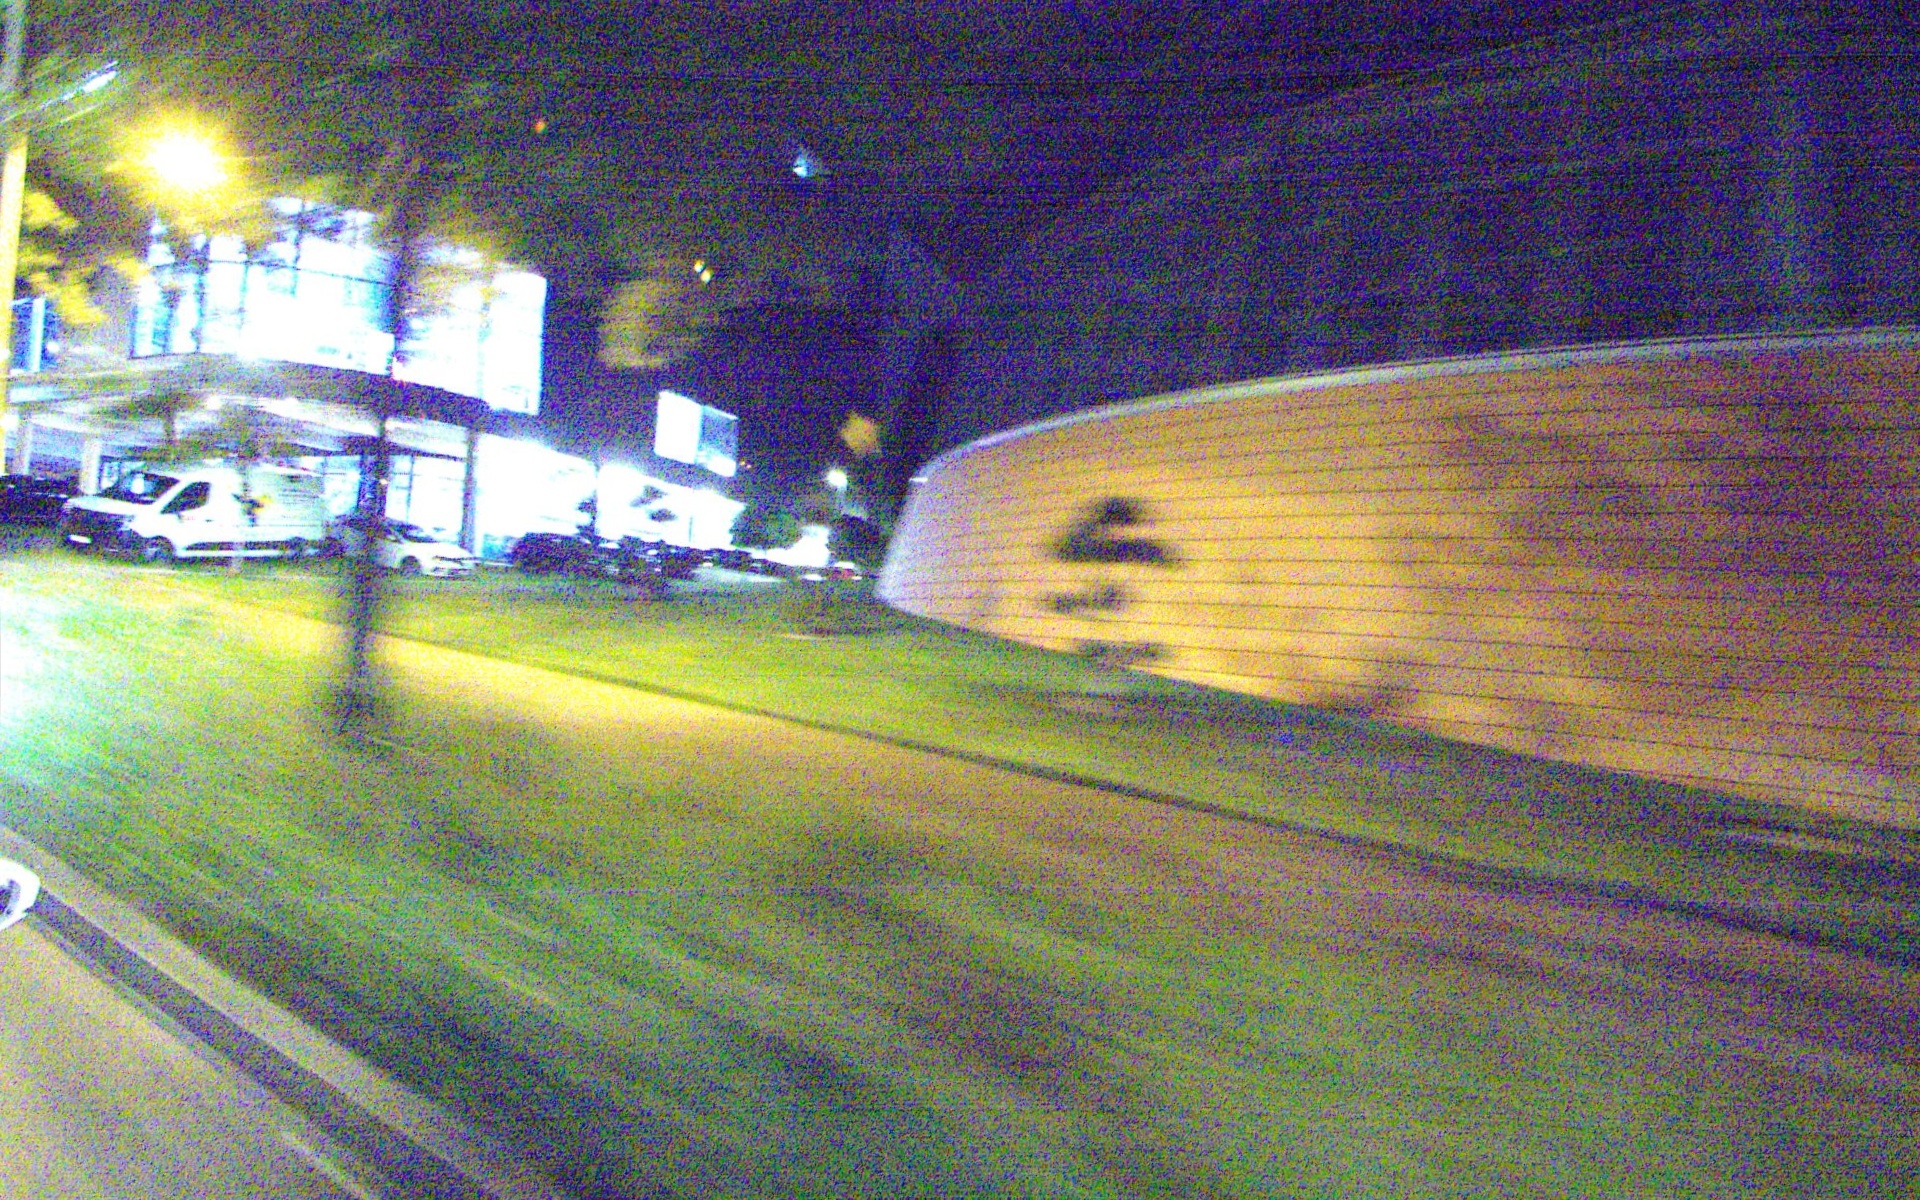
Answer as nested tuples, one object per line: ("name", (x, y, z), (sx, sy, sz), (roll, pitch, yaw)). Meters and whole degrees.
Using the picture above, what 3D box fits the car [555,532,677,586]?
("car", (-13.000, -1.572, 38.129), (3.891, 1.624, 1.780), (6, 4, 8))

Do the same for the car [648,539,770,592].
("car", (-10.900, -1.472, 43.839), (4.578, 1.681, 2.002), (6, -1, 8))

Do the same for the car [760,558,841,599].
("car", (-7.860, -1.070, 49.732), (3.637, 1.621, 1.735), (6, 4, 0))

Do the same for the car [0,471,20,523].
("car", (-34.226, -3.613, 33.047), (1.963, 1.710, 4.468), (7, 3, 20))

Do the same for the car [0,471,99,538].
("car", (-27.789, -2.871, 28.864), (1.924, 1.685, 4.212), (7, 1, 20))

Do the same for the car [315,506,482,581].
("car", (-16.471, -1.643, 29.613), (3.891, 1.734, 1.811), (6, 2, 8))

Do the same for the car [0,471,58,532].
("car", (-31.846, -3.329, 31.827), (1.963, 1.833, 4.472), (7, 1, 20))

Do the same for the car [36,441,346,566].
("car", (-18.801, -2.244, 25.114), (2.240, 2.565, 6.028), (7, 4, 14))

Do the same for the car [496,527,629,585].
("car", (-13.976, -1.562, 35.447), (3.891, 1.600, 1.797), (6, 4, 8))

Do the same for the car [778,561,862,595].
("car", (-7.190, -1.119, 51.785), (3.891, 1.413, 1.666), (3, -2, 9))

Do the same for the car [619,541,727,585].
("car", (-11.709, -1.518, 41.195), (3.804, 1.353, 1.658), (6, 1, 8))
